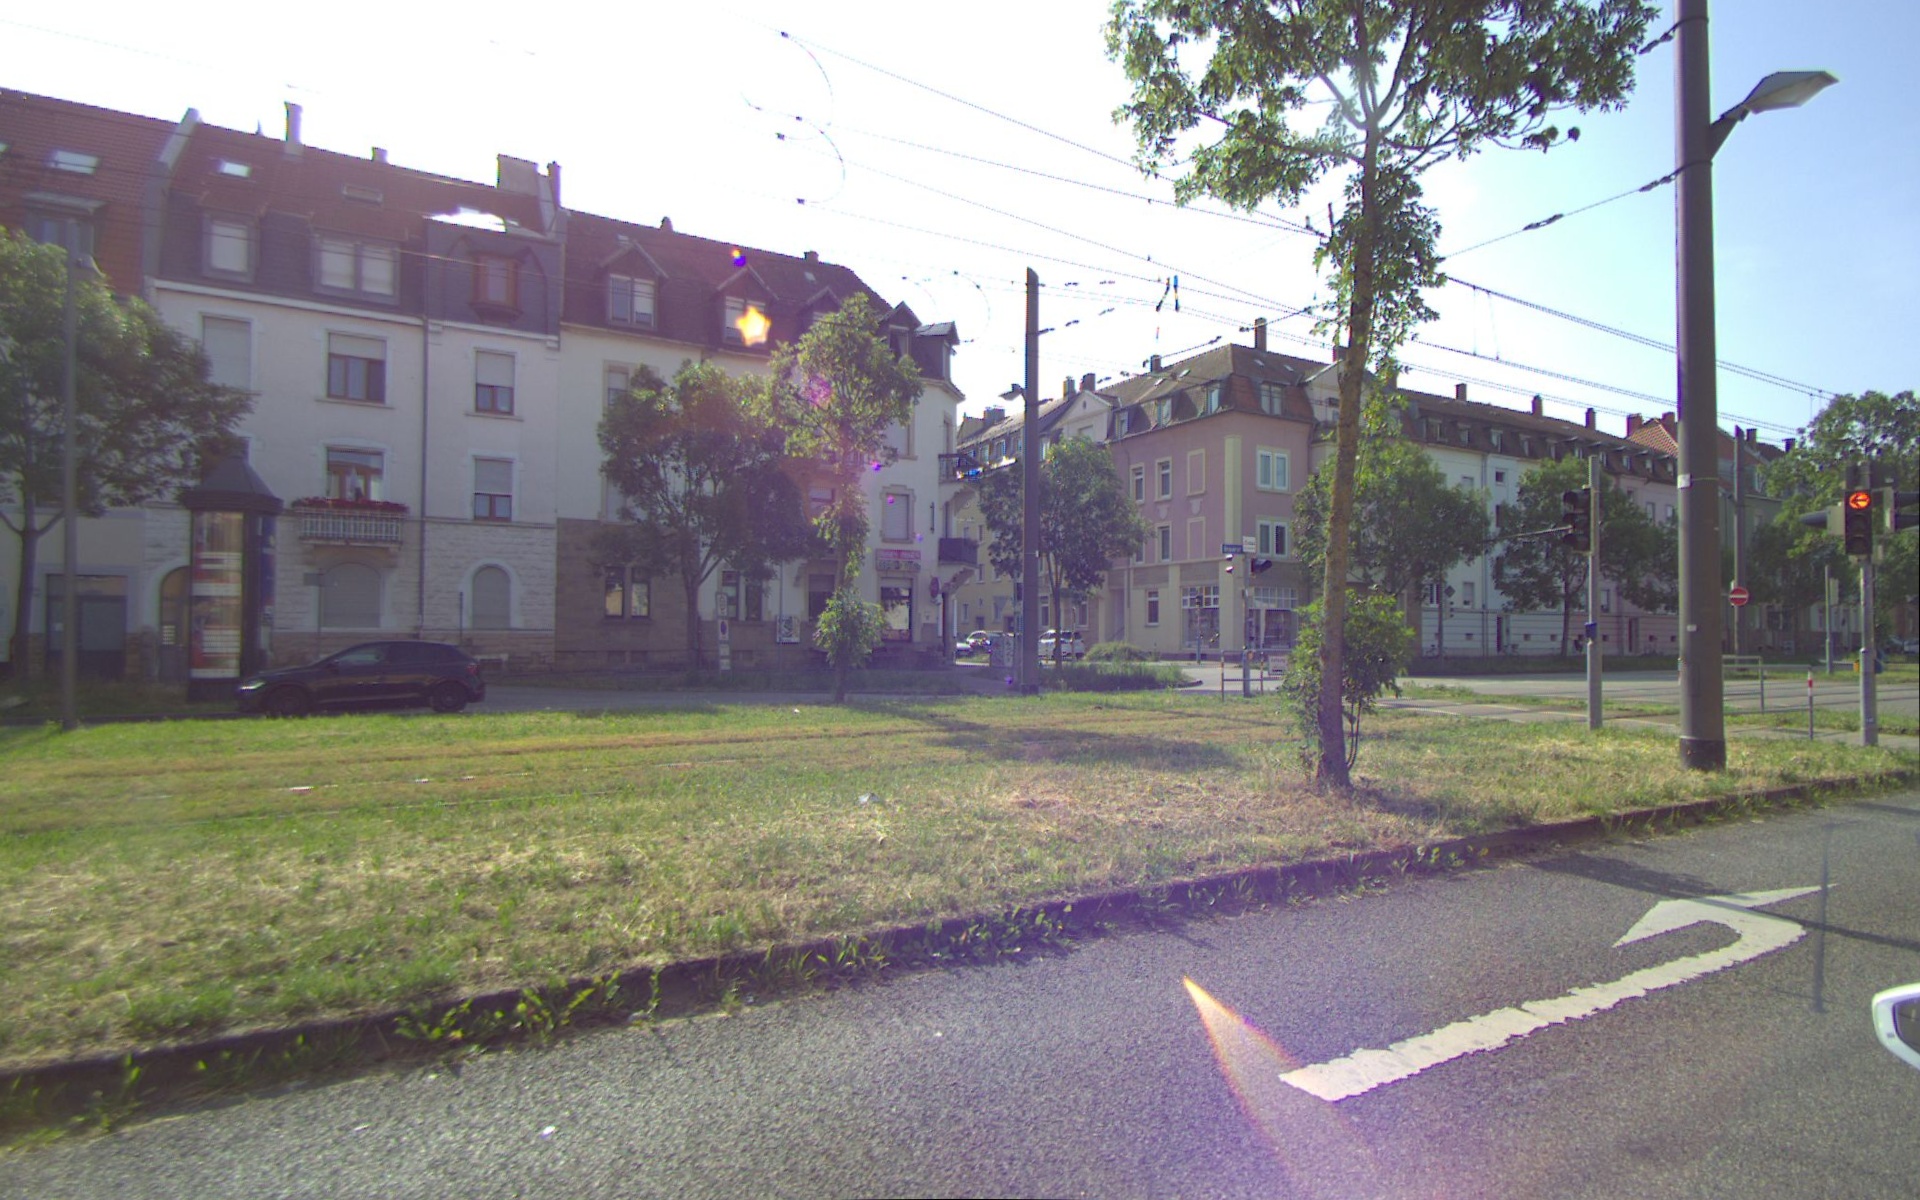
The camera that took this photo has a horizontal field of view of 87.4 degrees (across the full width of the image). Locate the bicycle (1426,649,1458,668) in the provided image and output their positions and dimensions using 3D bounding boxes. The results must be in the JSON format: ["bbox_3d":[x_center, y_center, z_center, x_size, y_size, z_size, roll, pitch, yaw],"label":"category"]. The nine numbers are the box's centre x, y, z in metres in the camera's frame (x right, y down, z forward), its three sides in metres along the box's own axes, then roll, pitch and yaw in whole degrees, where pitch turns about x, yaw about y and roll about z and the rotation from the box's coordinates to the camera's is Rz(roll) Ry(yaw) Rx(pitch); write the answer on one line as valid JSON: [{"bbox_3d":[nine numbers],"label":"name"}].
[{"bbox_3d":[24.619,2.990,51.295,1.925,0.900,0.465,2,0,-31],"label":"bicycle"}]

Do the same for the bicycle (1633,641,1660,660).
[{"bbox_3d":[42.093,3.087,61.613,1.925,1.143,0.601,2,0,-31],"label":"bicycle"}]

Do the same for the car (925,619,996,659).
[{"bbox_3d":[-0.020,1.960,51.135,1.813,1.874,3.966,2,0,-31],"label":"car"}]

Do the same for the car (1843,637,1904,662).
[{"bbox_3d":[65.266,3.518,71.724,4.721,1.650,1.983,2,0,-31],"label":"car"}]

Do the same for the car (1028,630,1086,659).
[{"bbox_3d":[5.488,2.520,57.066,1.552,1.481,3.380,2,0,-31],"label":"car"}]

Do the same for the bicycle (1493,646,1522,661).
[{"bbox_3d":[29.712,2.893,54.509,1.925,0.799,0.435,2,0,-31],"label":"bicycle"}]

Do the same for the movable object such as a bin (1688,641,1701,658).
[{"bbox_3d":[56.024,3.794,76.569,0.633,1.227,0.582,2,0,-31],"label":"movable object such as a bin"}]

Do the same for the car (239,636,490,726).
[{"bbox_3d":[-11.113,1.481,18.995,3.880,1.452,1.803,2,0,-30],"label":"car"}]

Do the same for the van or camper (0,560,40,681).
[{"bbox_3d":[-21.910,0.385,19.547,2.155,2.607,5.929,2,0,5],"label":"van or camper"}]

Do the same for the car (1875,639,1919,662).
[{"bbox_3d":[70.097,3.747,74.572,4.103,1.650,1.883,2,0,-27],"label":"car"}]

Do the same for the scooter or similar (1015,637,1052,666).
[{"bbox_3d":[2.876,1.990,39.195,0.731,1.083,1.482,2,0,39],"label":"scooter or similar"}]

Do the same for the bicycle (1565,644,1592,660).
[{"bbox_3d":[35.639,3.007,57.861,1.925,0.868,0.445,2,0,-31],"label":"bicycle"}]

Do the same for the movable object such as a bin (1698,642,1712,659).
[{"bbox_3d":[56.369,3.803,75.993,0.633,1.227,0.582,2,0,-31],"label":"movable object such as a bin"}]

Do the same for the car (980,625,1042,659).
[{"bbox_3d":[3.085,2.527,61.186,1.813,1.874,3.966,2,0,-31],"label":"car"}]
